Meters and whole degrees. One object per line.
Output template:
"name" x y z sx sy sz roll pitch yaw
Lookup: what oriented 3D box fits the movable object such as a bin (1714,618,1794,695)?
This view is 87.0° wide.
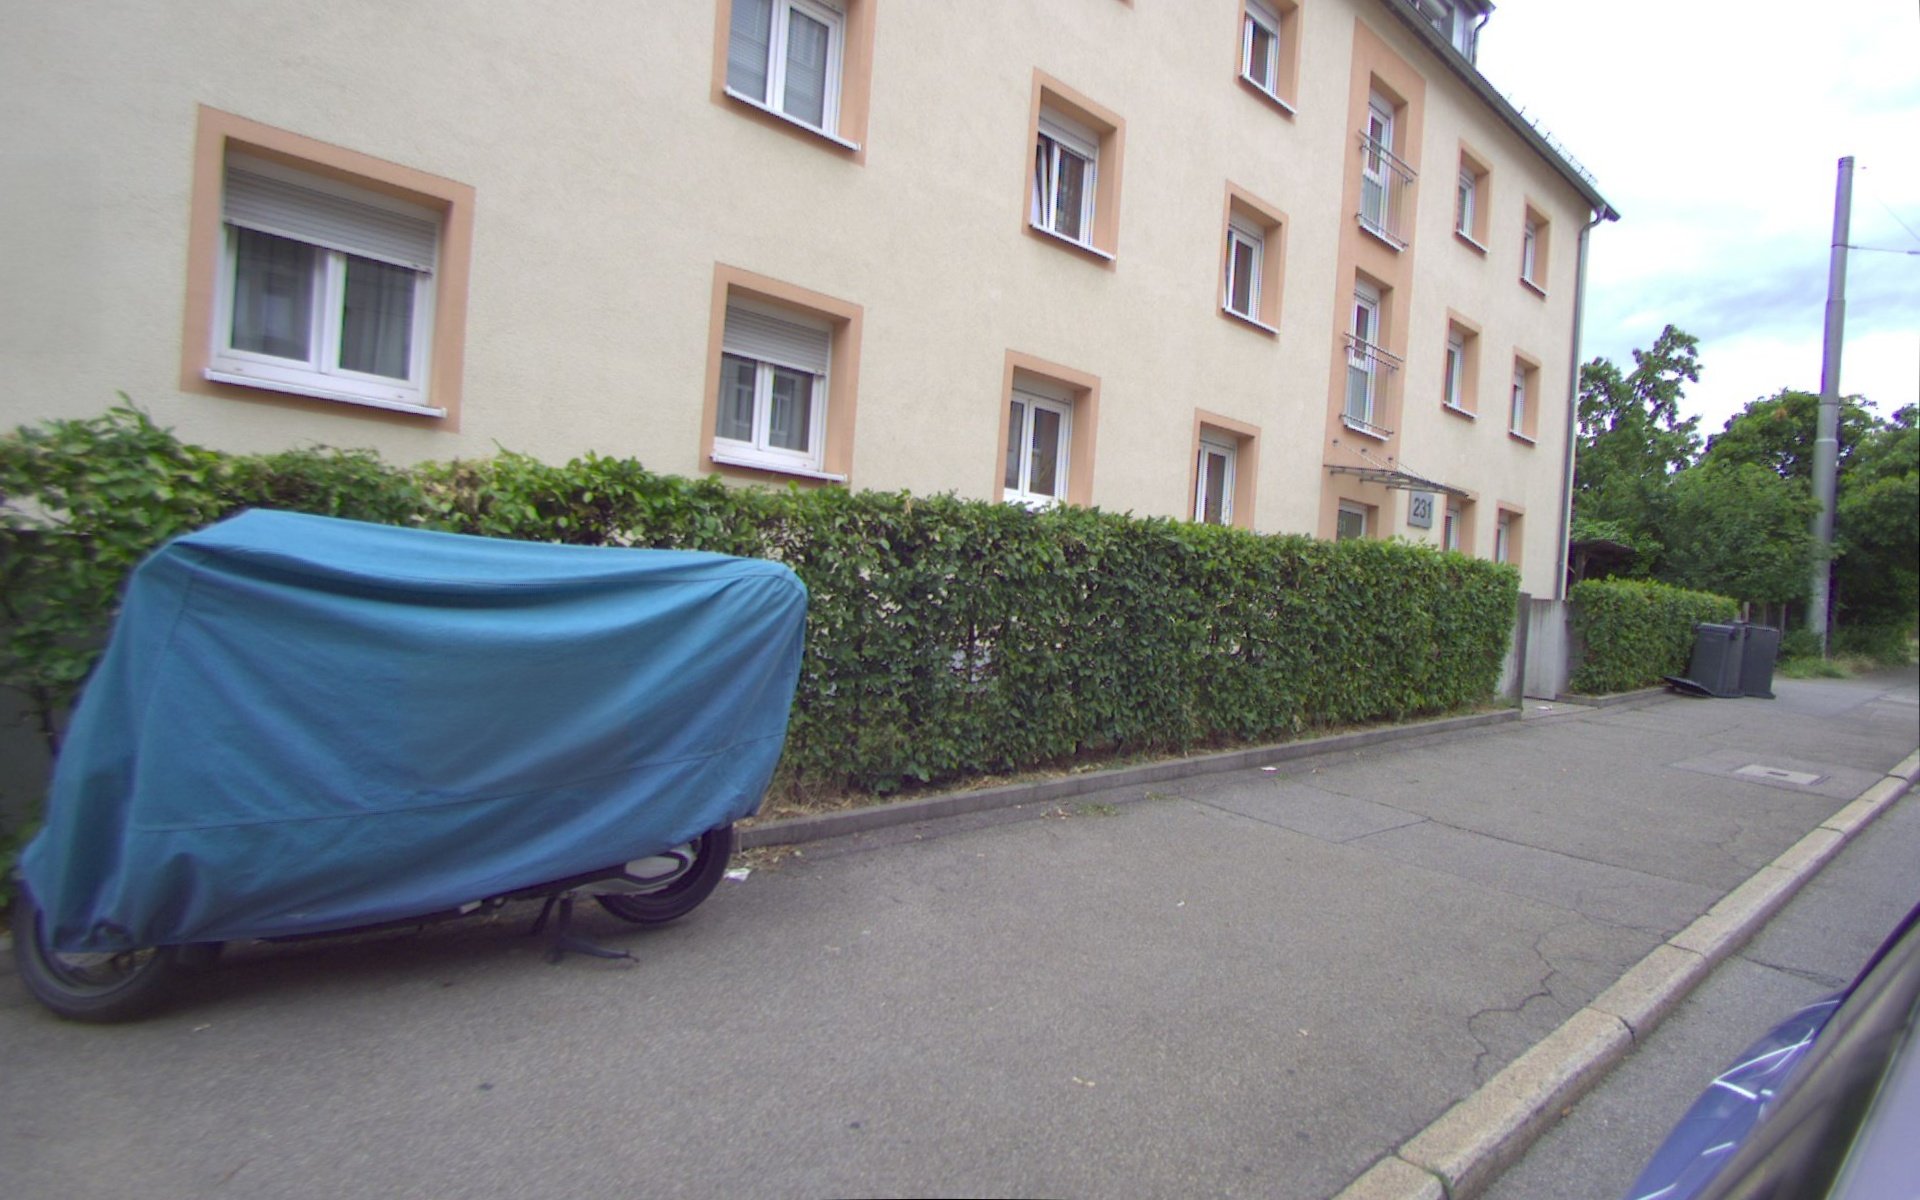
"movable object such as a bin" 11.633 0.806 14.824 0.776 1.024 0.792 1 2 -45

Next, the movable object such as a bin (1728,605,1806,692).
"movable object such as a bin" 12.249 0.718 15.359 0.776 1.233 0.792 1 2 -45

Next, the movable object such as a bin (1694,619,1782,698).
"movable object such as a bin" 10.986 0.801 14.294 0.775 1.024 0.794 1 2 -39

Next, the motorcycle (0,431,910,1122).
"motorcycle" -1.430 0.373 3.216 2.507 1.474 0.840 1 2 -40
